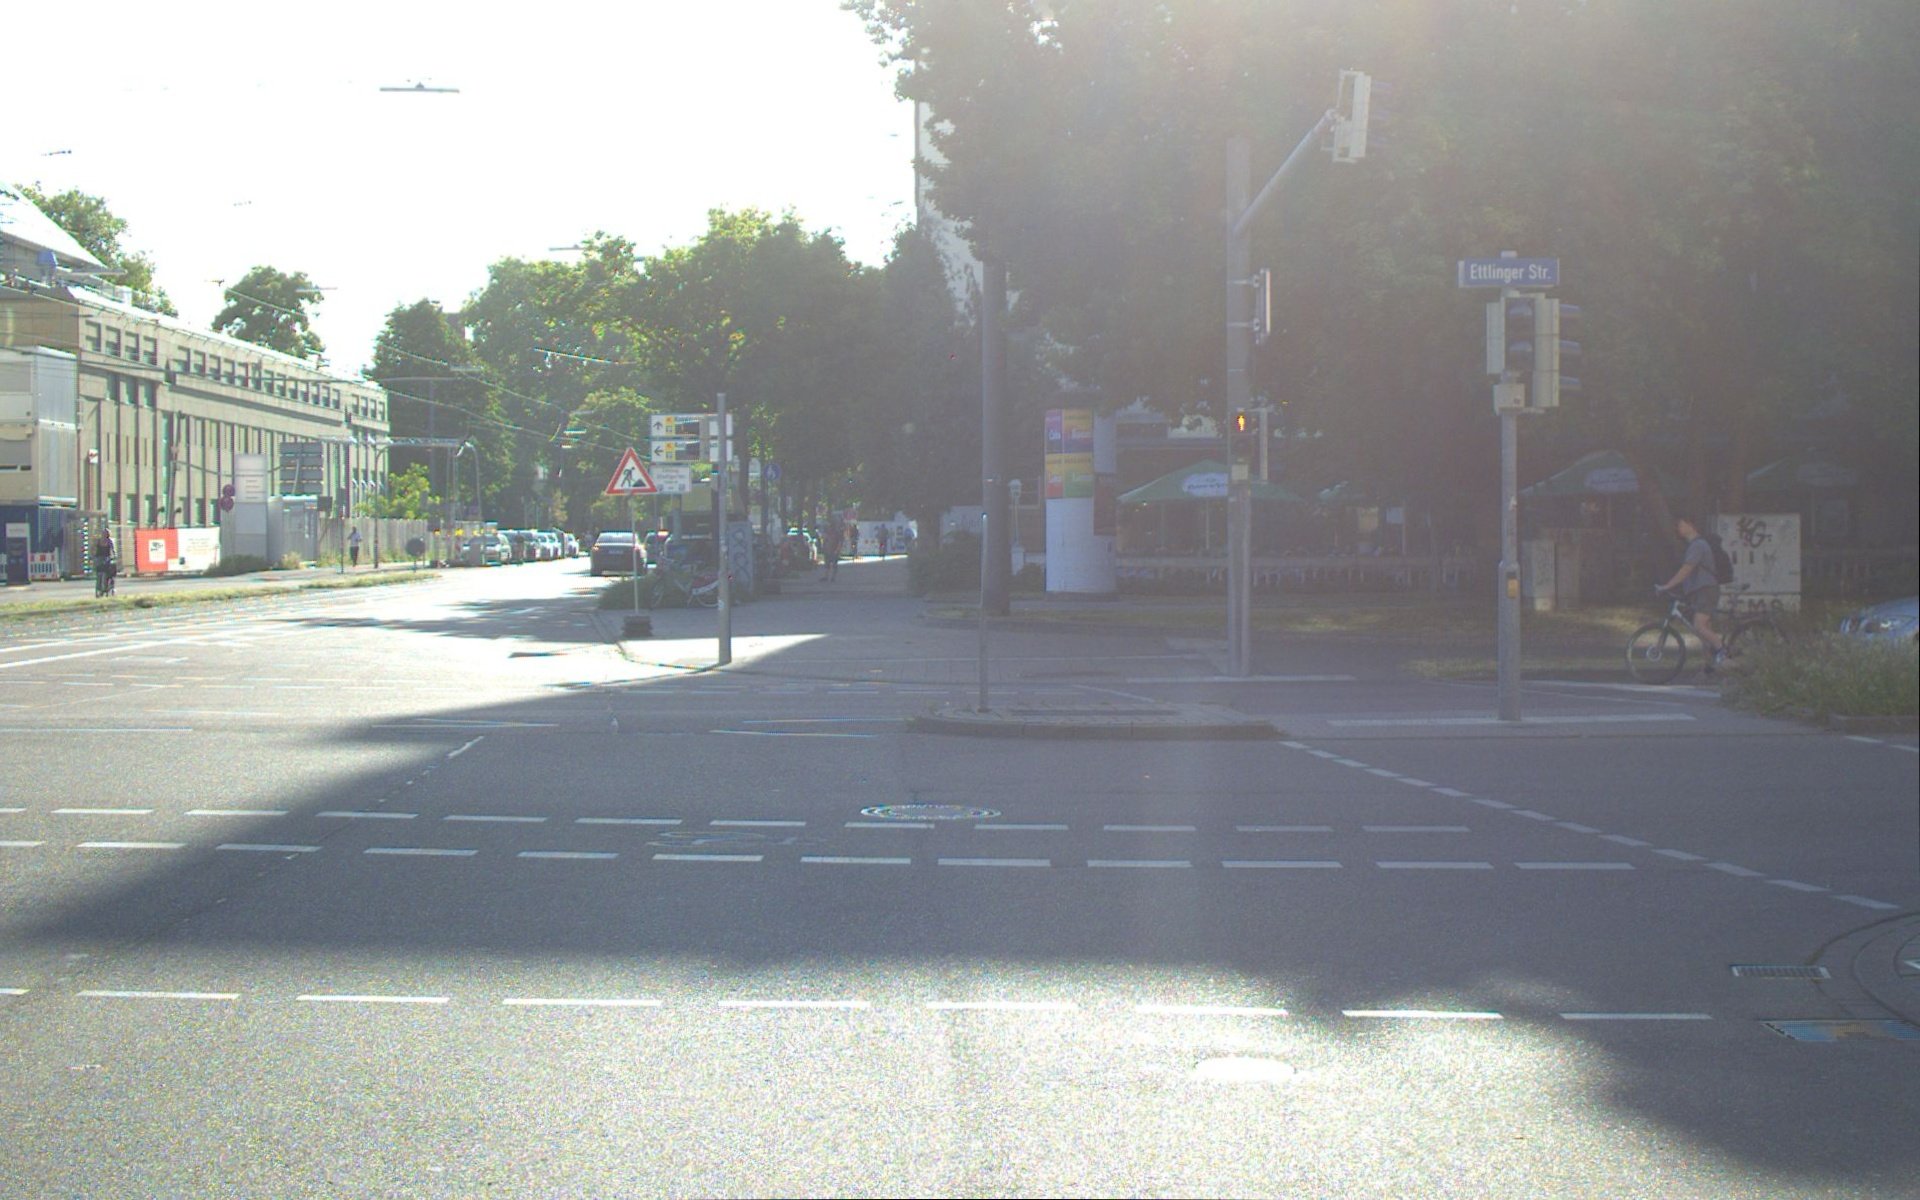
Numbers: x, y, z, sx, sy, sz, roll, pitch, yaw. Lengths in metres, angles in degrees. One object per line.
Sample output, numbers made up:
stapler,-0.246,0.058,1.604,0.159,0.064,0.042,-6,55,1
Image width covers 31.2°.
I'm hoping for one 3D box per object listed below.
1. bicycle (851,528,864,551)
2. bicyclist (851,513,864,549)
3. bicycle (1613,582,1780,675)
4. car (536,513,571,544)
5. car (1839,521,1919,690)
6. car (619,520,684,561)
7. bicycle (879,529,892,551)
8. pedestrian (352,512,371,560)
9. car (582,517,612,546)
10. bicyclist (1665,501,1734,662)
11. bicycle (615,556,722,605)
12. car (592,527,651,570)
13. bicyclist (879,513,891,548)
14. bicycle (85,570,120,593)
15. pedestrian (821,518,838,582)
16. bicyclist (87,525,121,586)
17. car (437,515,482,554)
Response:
bicycle,-4.852,-2.861,162.782,0.575,1.073,1.831,0,1,-1
bicyclist,-4.853,-3.256,162.662,0.569,1.685,0.700,0,1,-1
bicycle,7.774,0.301,36.309,1.667,0.960,0.533,0,1,5
car,-23.001,-4.024,194.684,1.692,1.712,4.248,1,1,-4
car,10.753,0.021,33.401,3.993,1.605,1.650,-1,1,-1
car,-12.592,-2.455,140.770,1.892,1.560,4.807,3,1,3
bicycle,-3.539,-2.849,163.158,0.575,1.073,1.831,0,1,-1
pedestrian,-25.289,-2.687,145.370,0.674,2.007,0.751,1,0,-3
car,-22.740,-4.284,215.325,1.692,1.712,4.248,1,1,-4
bicyclist,7.808,-0.198,36.305,0.643,1.677,0.507,0,1,5
bicycle,-5.728,-0.382,67.472,2.018,0.888,0.650,-2,0,27
car,-11.583,-1.774,117.913,1.660,1.450,4.432,1,1,-1
bicyclist,-3.547,-3.294,163.142,0.569,1.685,0.700,0,1,-1
bicycle,-19.546,-0.427,78.401,0.501,0.513,1.258,1,1,-1
pedestrian,-3.713,-1.417,97.715,0.463,1.807,0.503,-1,1,-5
bicyclist,-19.520,-1.008,78.397,0.596,1.372,0.638,1,0,-2
car,-22.766,-2.960,156.438,1.692,1.712,4.248,1,1,-4
